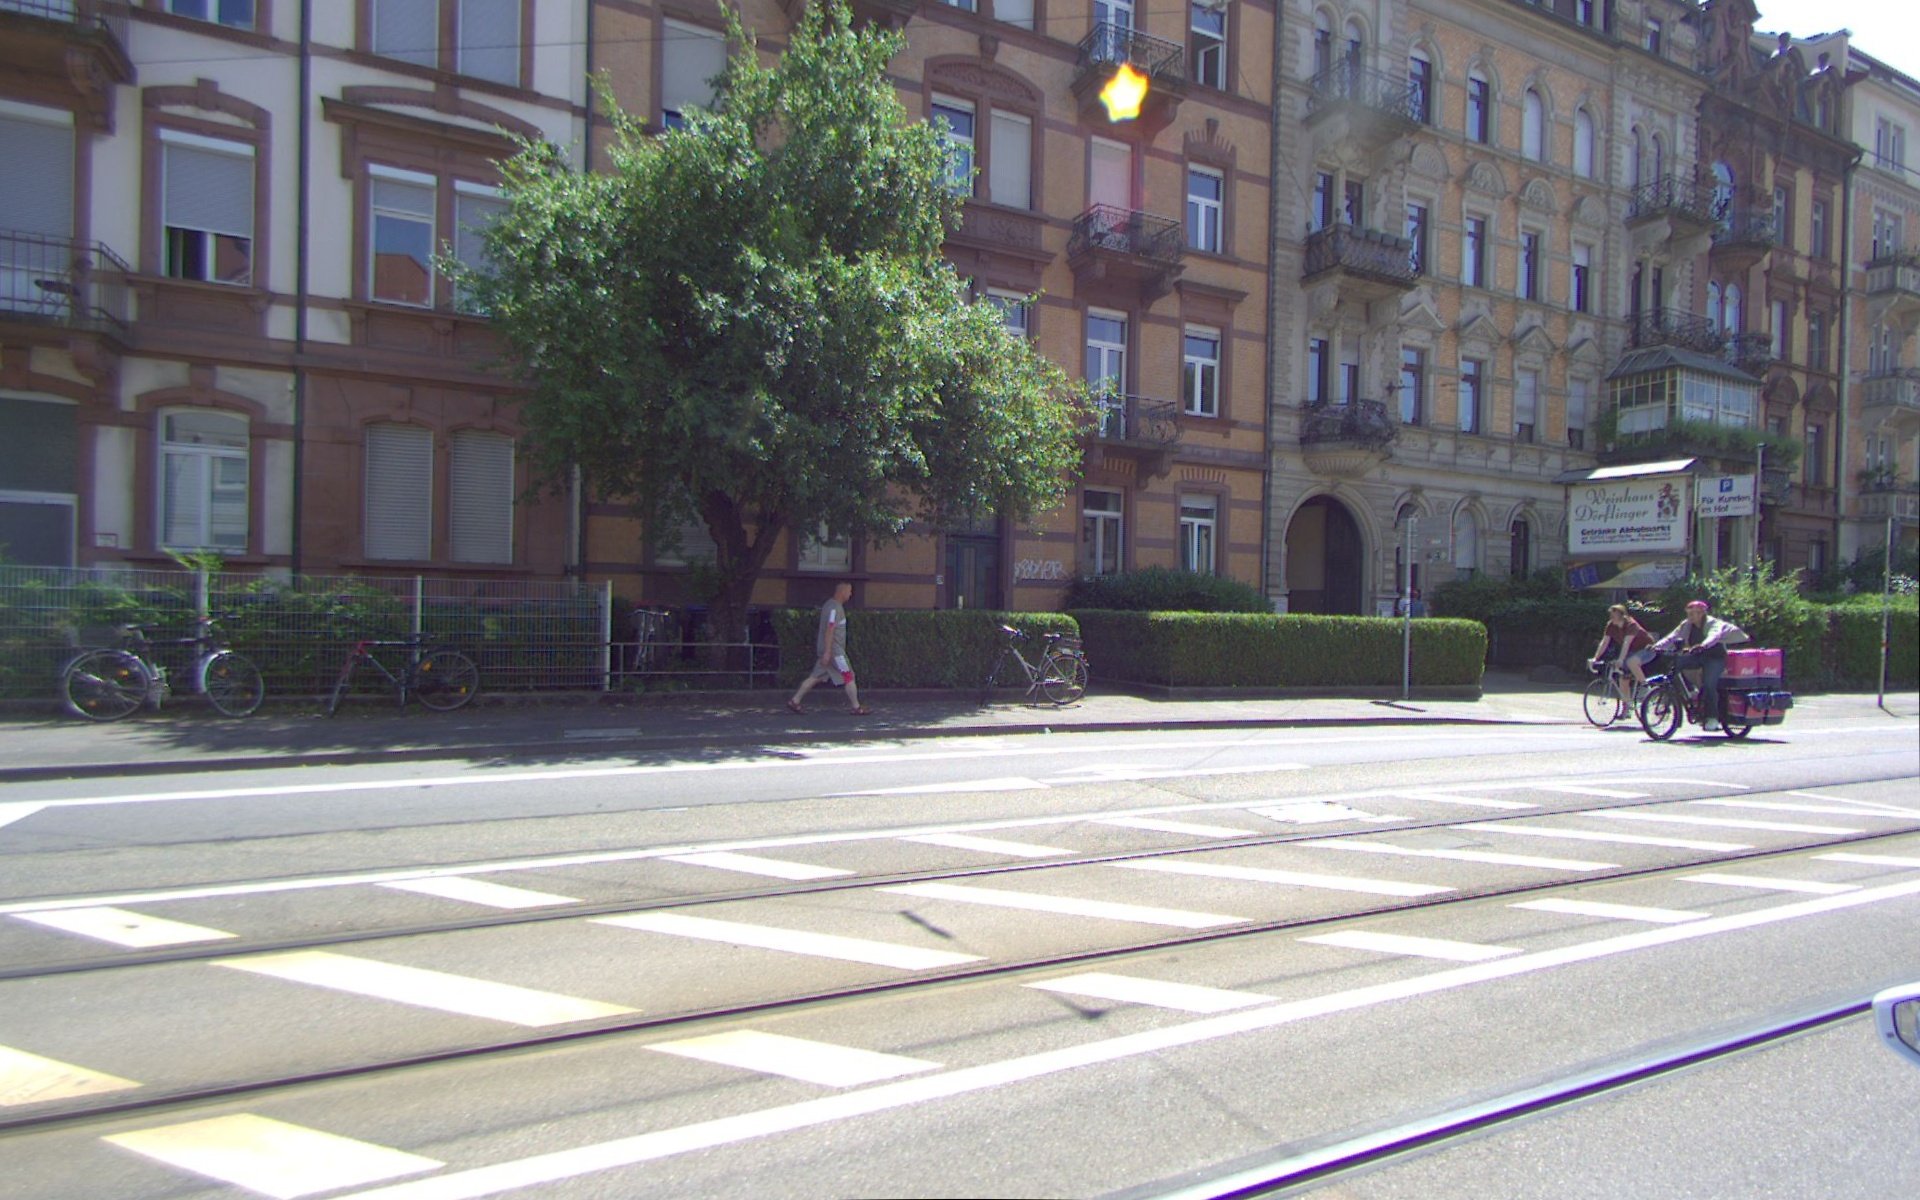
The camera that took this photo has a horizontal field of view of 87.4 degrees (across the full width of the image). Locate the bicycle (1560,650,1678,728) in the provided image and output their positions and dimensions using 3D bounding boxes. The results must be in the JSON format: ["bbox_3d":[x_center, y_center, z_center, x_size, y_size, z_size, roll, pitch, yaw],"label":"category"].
[{"bbox_3d":[9.558,1.275,14.560,1.804,1.052,0.566,2,0,-26],"label":"bicycle"}]

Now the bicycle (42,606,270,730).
[{"bbox_3d":[-8.120,0.673,10.225,1.691,1.184,0.571,2,0,-23],"label":"bicycle"}]

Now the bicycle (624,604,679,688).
[{"bbox_3d":[-4.057,0.573,13.146,0.488,1.009,1.642,1,0,-23],"label":"bicycle"}]

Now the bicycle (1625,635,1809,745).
[{"bbox_3d":[9.728,1.119,12.888,2.516,1.288,0.805,2,0,-26],"label":"bicycle"}]

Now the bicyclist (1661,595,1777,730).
[{"bbox_3d":[9.730,0.780,12.887,0.967,1.651,0.805,1,0,-25],"label":"bicyclist"}]

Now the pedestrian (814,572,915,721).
[{"bbox_3d":[-1.167,0.546,12.157,0.998,1.723,0.871,1,0,-19],"label":"pedestrian"}]

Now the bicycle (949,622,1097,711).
[{"bbox_3d":[0.864,0.897,13.722,1.903,1.108,0.637,2,2,-23],"label":"bicycle"}]

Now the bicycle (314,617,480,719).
[{"bbox_3d":[-6.221,0.747,11.181,1.542,1.070,0.458,2,0,-23],"label":"bicycle"}]

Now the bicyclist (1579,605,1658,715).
[{"bbox_3d":[9.534,0.852,14.543,0.880,1.536,0.561,1,0,-25],"label":"bicyclist"}]

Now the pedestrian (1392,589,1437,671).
[{"bbox_3d":[10.709,0.698,23.674,0.800,1.882,0.879,2,0,17],"label":"pedestrian"}]

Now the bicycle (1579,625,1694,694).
[{"bbox_3d":[13.830,1.190,20.603,0.561,1.244,1.862,1,2,-28],"label":"bicycle"}]
